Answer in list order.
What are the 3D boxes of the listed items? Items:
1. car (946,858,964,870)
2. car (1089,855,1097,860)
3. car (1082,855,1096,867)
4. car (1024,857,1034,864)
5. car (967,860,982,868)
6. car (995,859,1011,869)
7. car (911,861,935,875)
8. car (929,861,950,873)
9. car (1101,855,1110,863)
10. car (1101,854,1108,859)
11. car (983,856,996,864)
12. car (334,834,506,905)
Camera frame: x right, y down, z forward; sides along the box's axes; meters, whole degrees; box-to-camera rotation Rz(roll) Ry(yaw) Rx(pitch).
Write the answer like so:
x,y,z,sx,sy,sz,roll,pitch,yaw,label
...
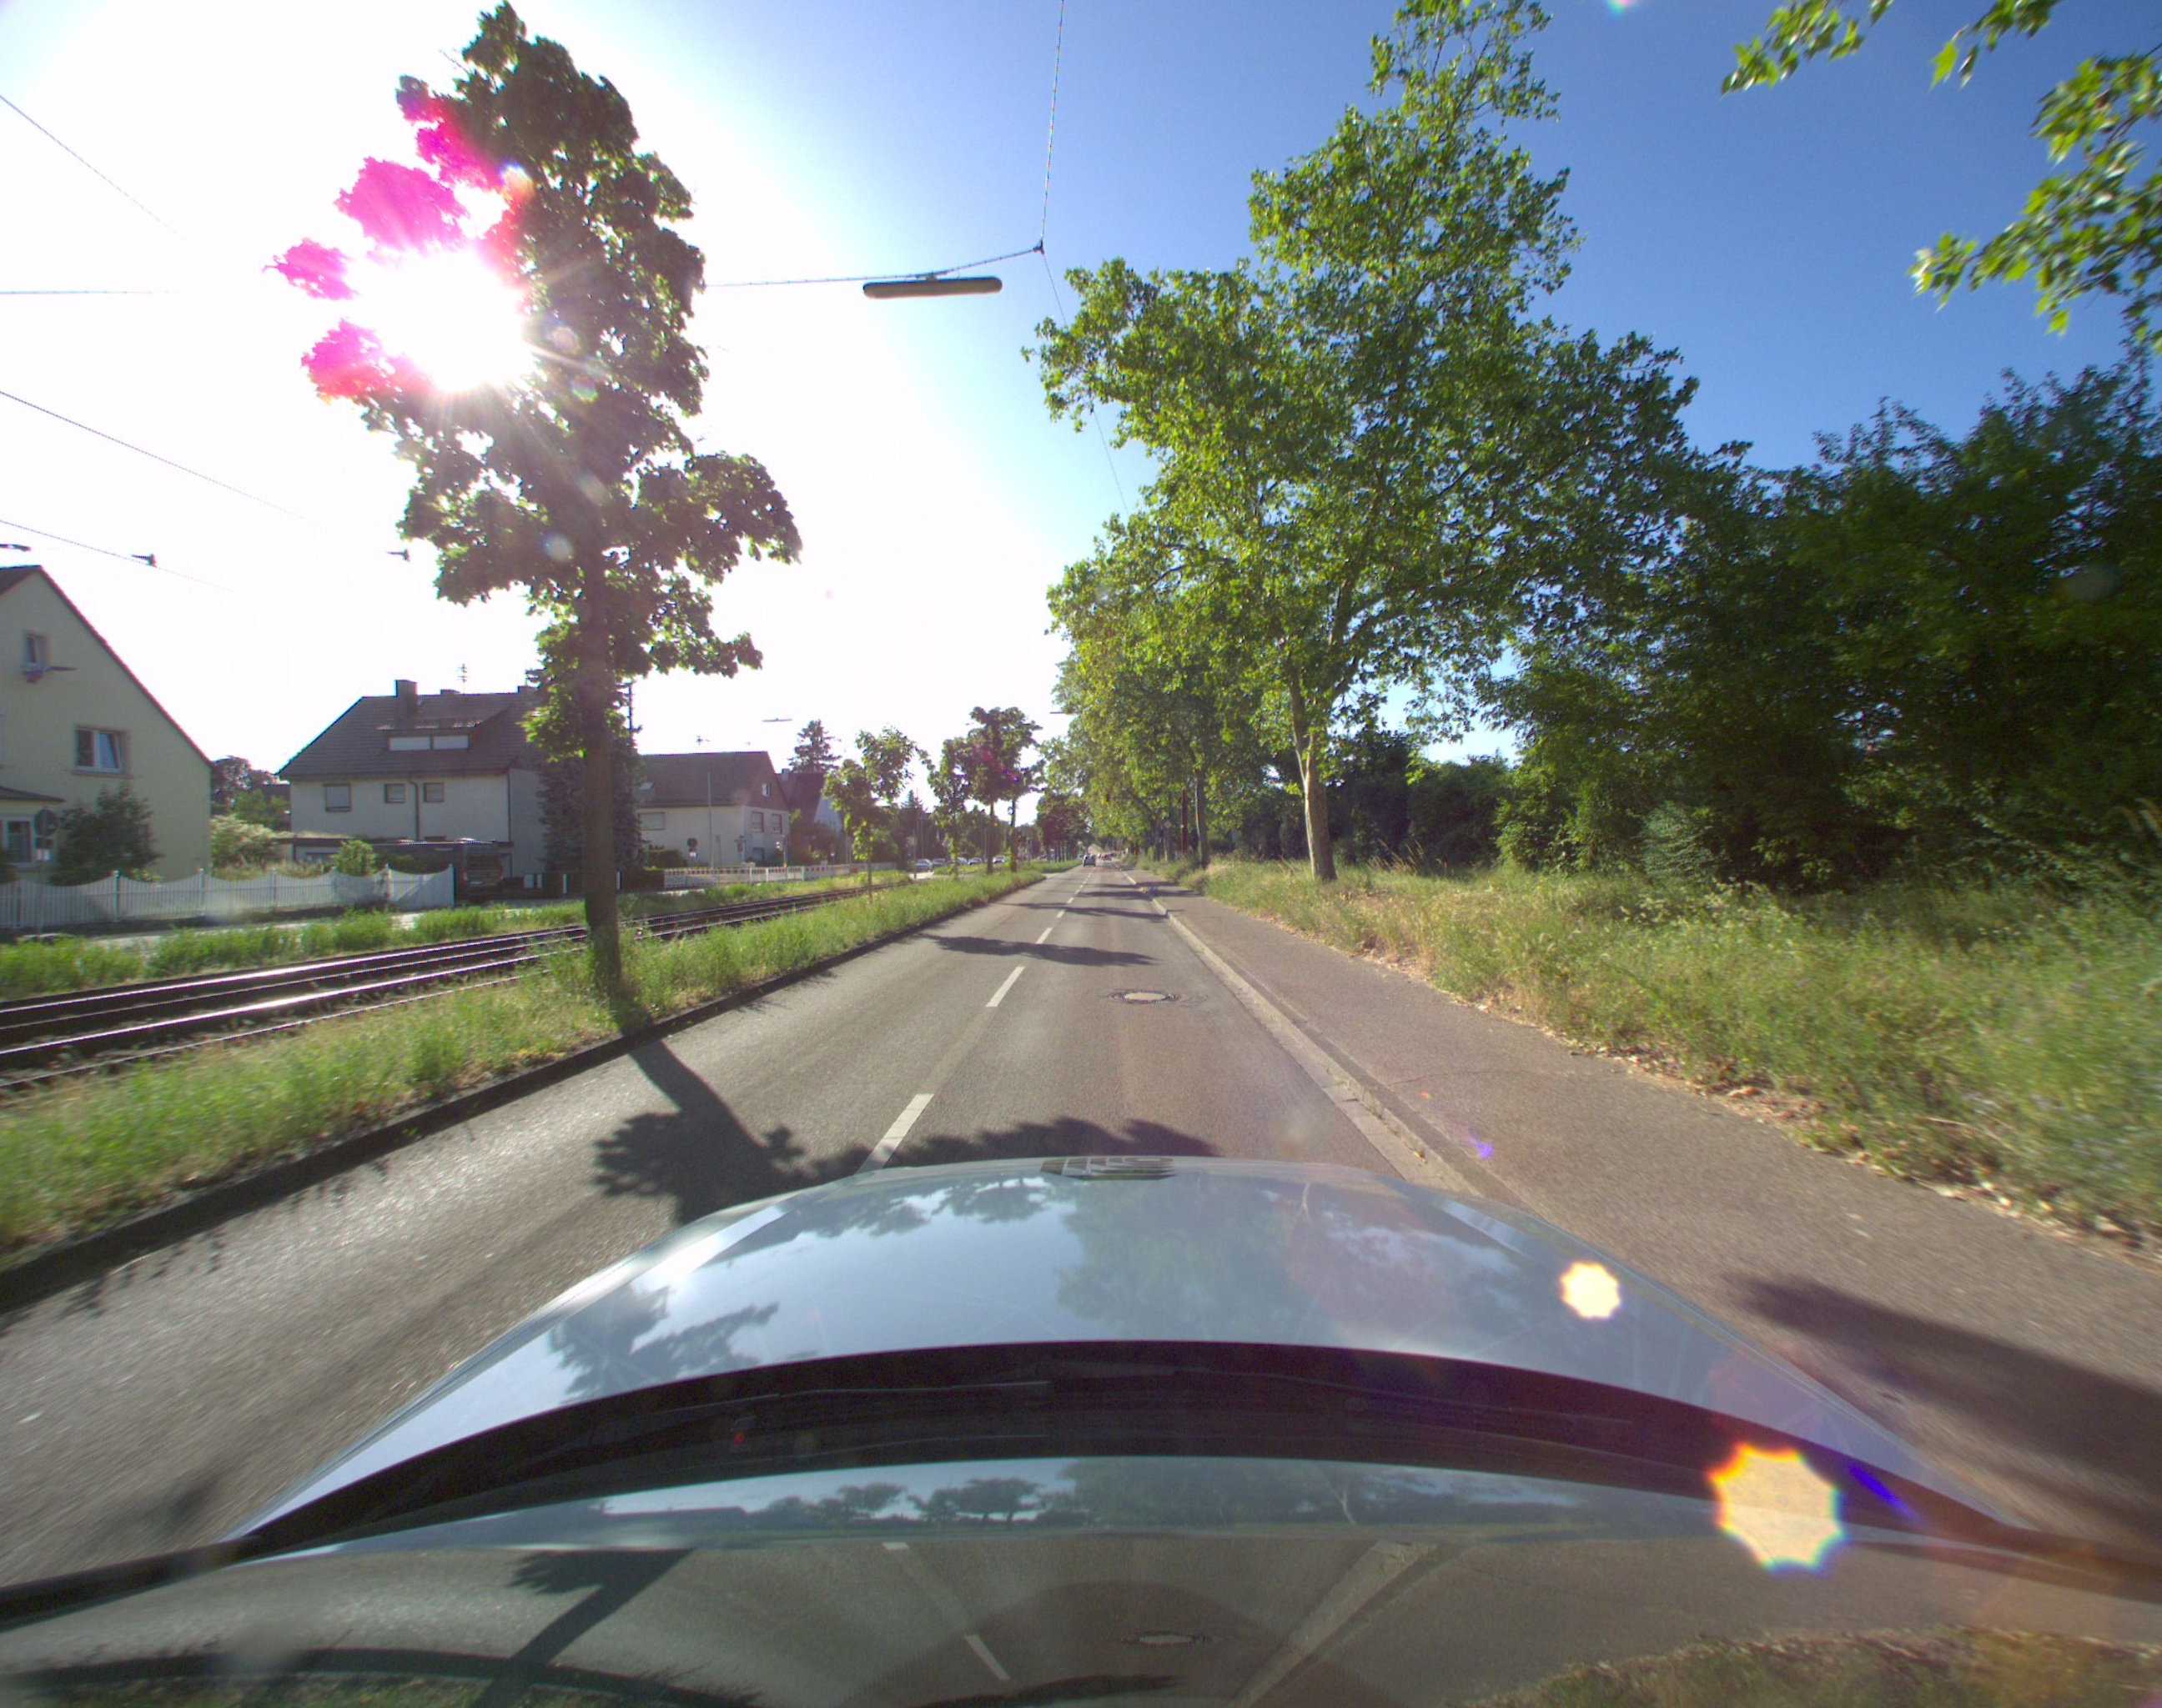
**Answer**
x,y,z,sx,sy,sz,roll,pitch,yaw,label
-17.697,1.454,114.627,1.741,1.651,4.556,0,-1,1,car
3.419,1.020,230.256,1.986,1.603,4.474,0,-1,1,car
1.087,0.934,106.658,1.853,1.601,4.229,0,-1,1,car
-11.282,1.447,176.347,1.654,1.552,4.811,0,-1,1,car
-17.548,1.663,133.930,1.853,1.369,4.229,0,-1,1,car
-12.287,1.547,128.480,1.986,1.603,4.474,0,-1,1,car
-18.390,1.626,94.695,1.853,1.542,4.229,0,-1,1,car
-18.011,1.660,103.578,1.723,1.466,4.603,0,-1,1,car
5.343,1.138,180.981,1.986,1.603,4.474,0,-1,1,car
6.667,0.698,232.633,1.785,1.559,4.229,0,-1,1,car
-17.214,1.128,153.139,1.853,1.413,4.159,0,-1,1,car
-25.905,0.577,32.051,5.010,2.625,2.103,-1,0,1,car
